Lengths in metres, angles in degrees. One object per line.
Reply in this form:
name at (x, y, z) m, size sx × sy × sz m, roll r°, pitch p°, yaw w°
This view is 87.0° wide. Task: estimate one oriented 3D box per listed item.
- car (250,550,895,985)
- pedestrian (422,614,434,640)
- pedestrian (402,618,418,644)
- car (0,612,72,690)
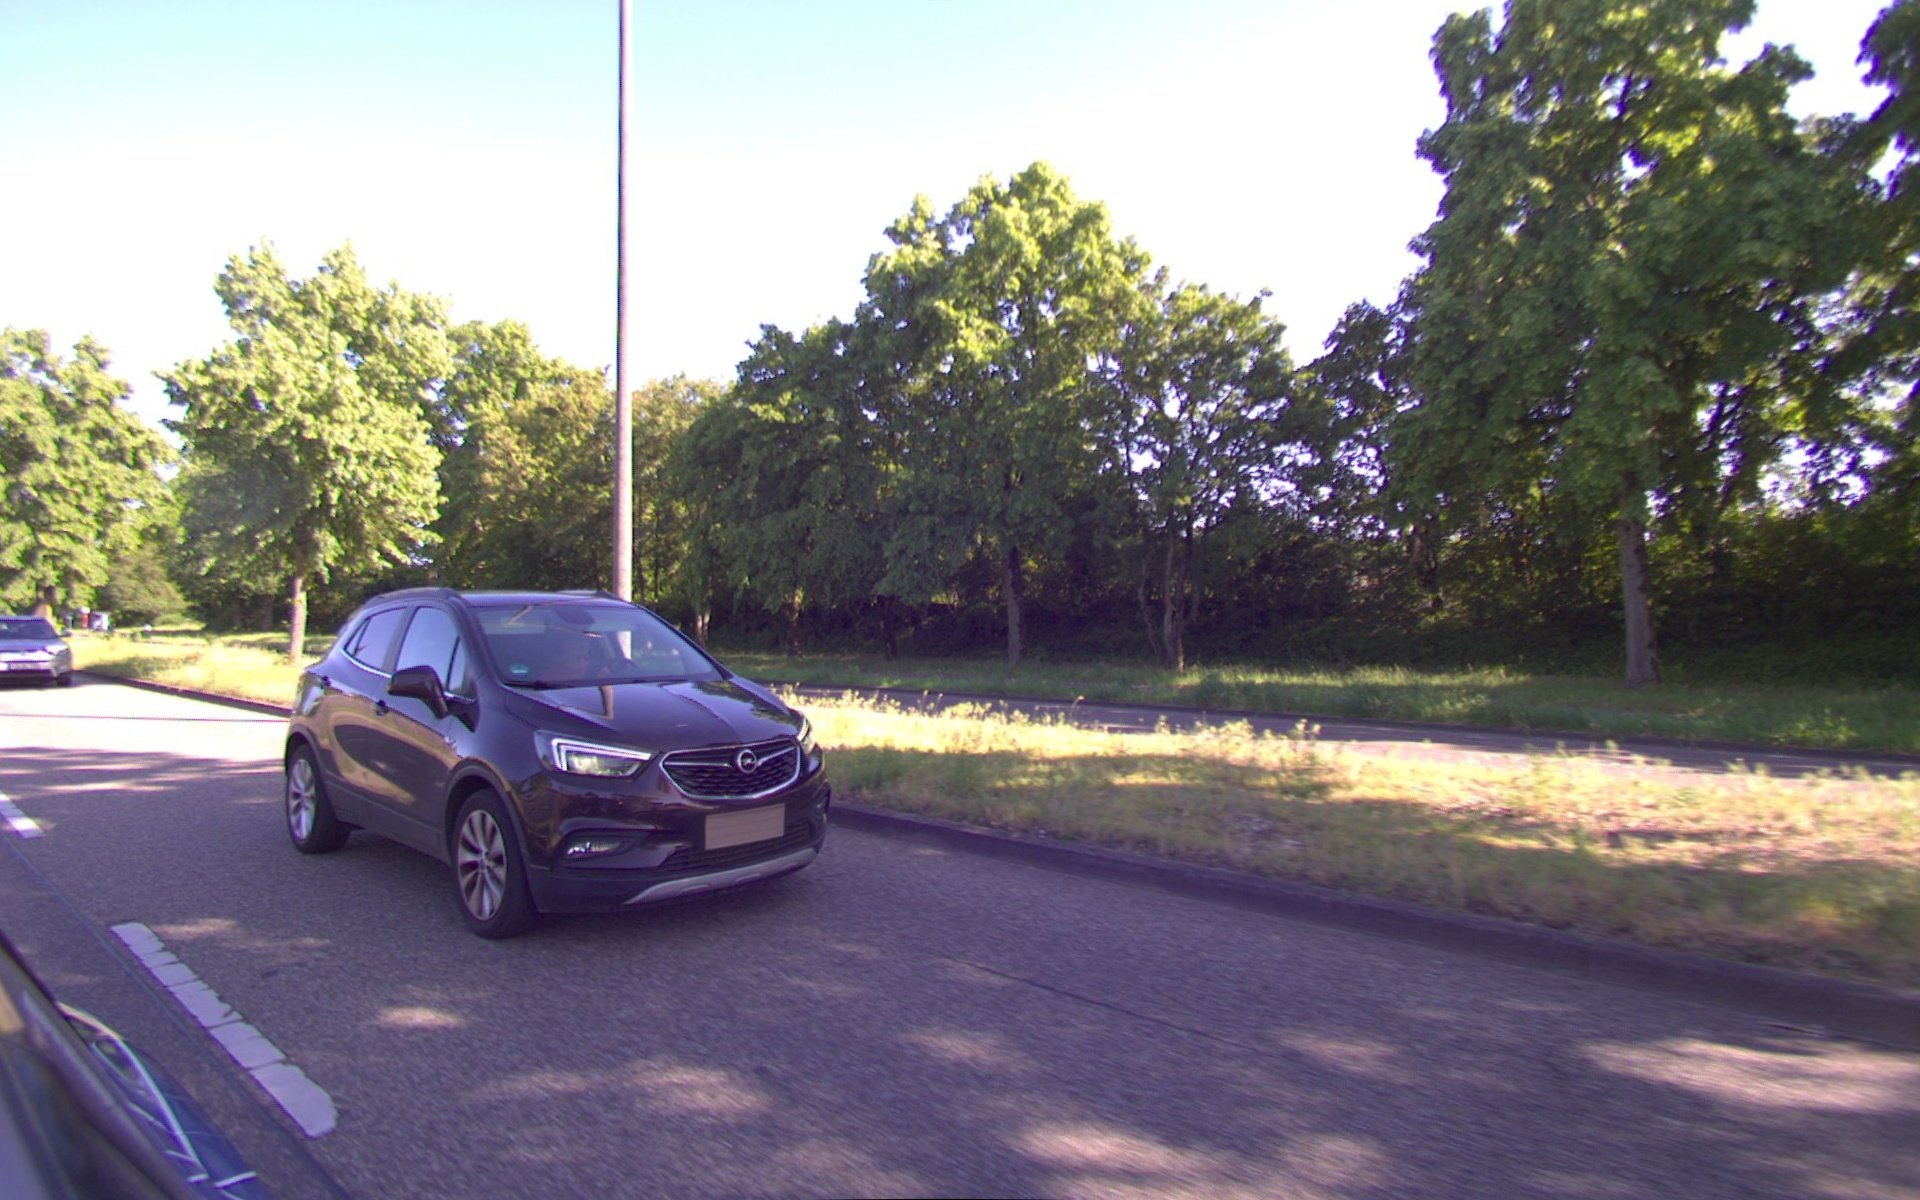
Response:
car at (-2.530, 0.671, 5.935) m, size 4.416 × 1.644 × 1.678 m, roll -1°, pitch -2°, yaw 41°
pedestrian at (-35.500, 1.783, 67.481) m, size 0.541 × 1.672 × 0.553 m, roll -1°, pitch 0°, yaw 45°
pedestrian at (-36.245, 2.013, 66.664) m, size 0.679 × 1.672 × 0.674 m, roll 0°, pitch 2°, yaw 40°
car at (-21.369, 1.087, 22.618) m, size 4.104 × 1.622 × 1.766 m, roll -1°, pitch -2°, yaw 41°
